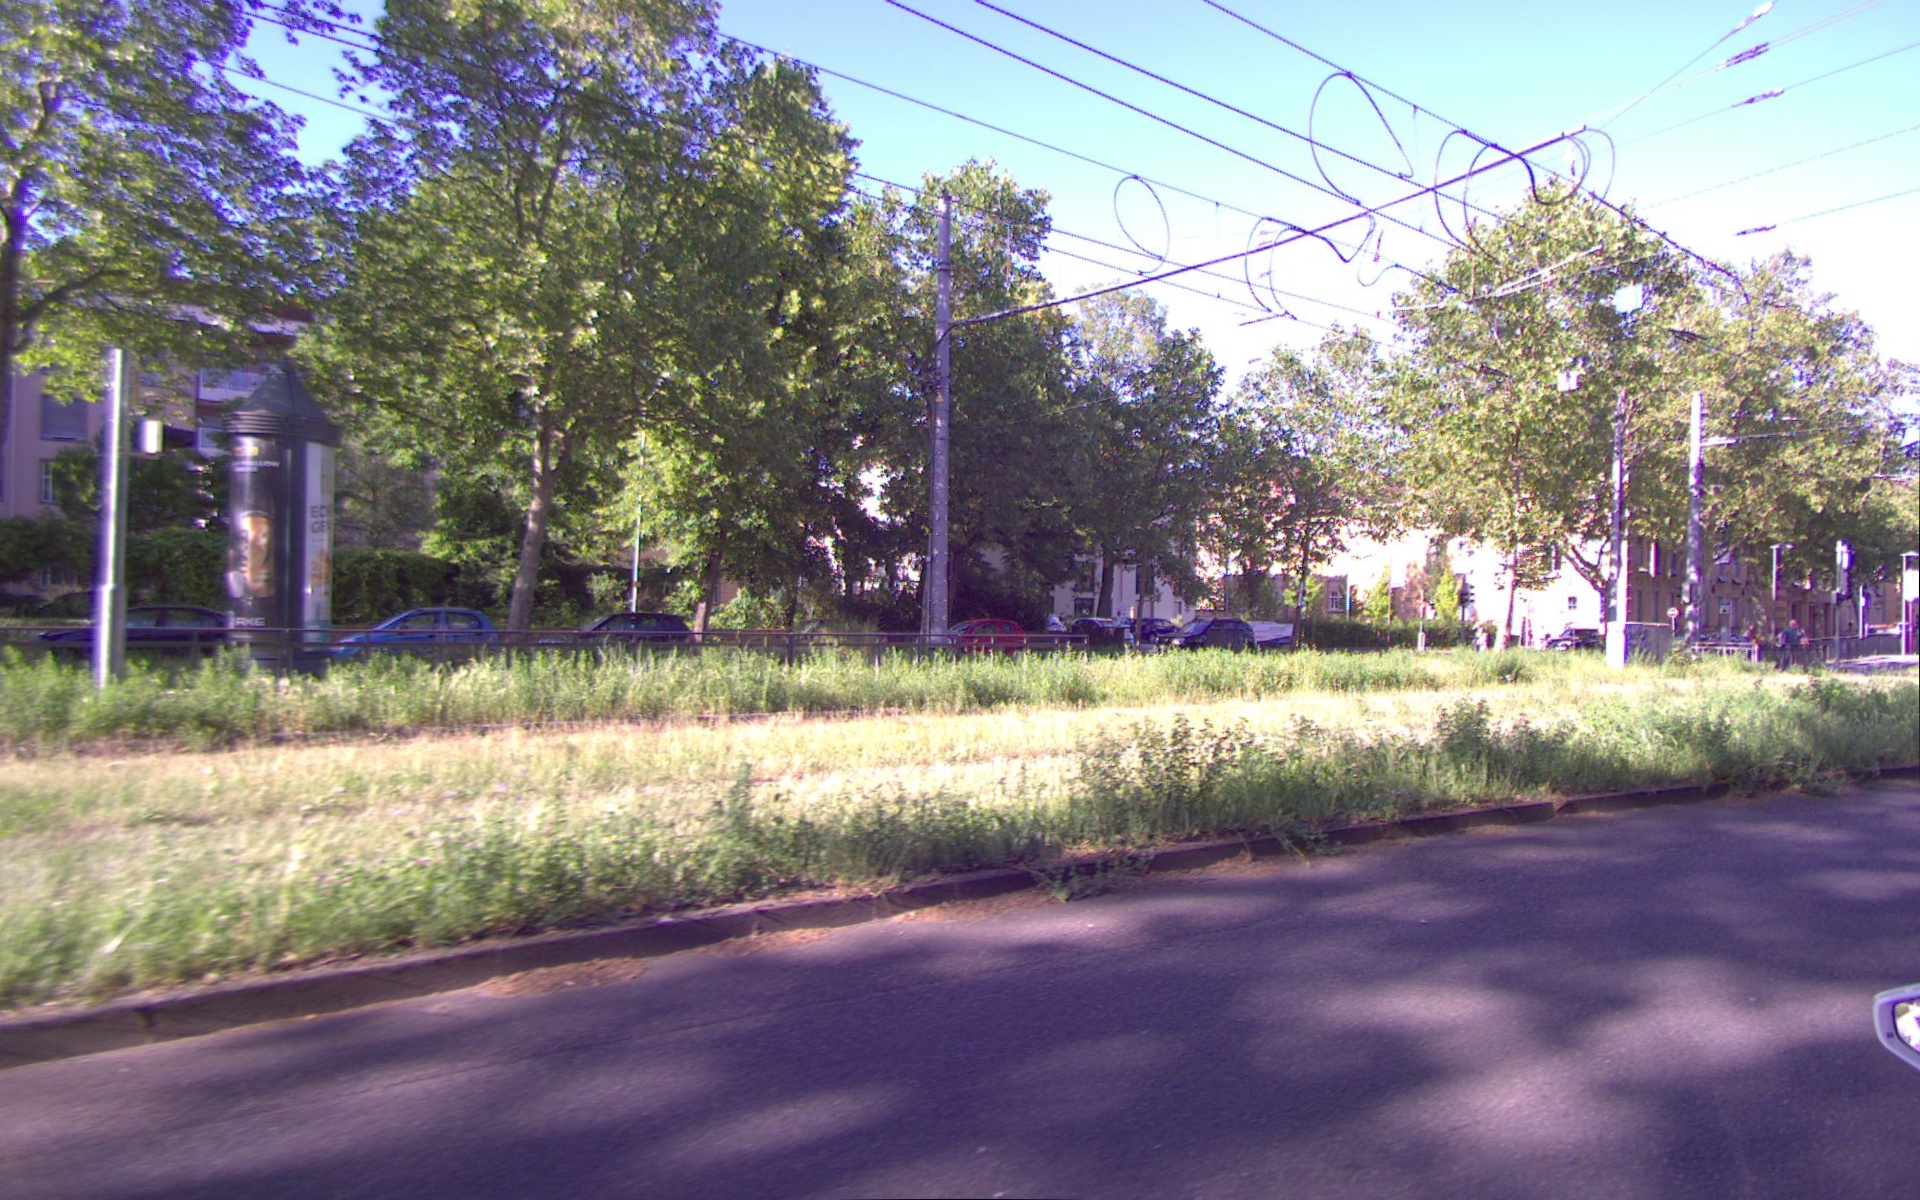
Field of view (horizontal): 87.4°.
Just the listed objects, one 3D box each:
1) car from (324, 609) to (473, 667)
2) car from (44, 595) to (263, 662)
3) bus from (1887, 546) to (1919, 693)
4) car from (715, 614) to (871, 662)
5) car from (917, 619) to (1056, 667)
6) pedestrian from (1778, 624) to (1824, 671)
[{"bbox_3d":[-12.707,0.857,22.770,2.817,1.216,1.391,2,-1,-35],"label":"car"},{"bbox_3d":[-16.162,0.580,20.336,3.326,1.245,1.397,2,-1,-35],"label":"car"},{"bbox_3d":[28.671,0.664,26.690,13.076,3.490,2.852,2,-1,-33],"label":"bus"},{"bbox_3d":[-4.705,1.082,28.466,3.959,1.194,1.781,2,1,-34],"label":"car"},{"bbox_3d":[0.837,1.308,31.703,3.955,1.328,1.983,1,1,-32],"label":"car"},{"bbox_3d":[31.191,1.757,37.247,0.885,1.665,1.167,2,-1,-40],"label":"pedestrian"}]
